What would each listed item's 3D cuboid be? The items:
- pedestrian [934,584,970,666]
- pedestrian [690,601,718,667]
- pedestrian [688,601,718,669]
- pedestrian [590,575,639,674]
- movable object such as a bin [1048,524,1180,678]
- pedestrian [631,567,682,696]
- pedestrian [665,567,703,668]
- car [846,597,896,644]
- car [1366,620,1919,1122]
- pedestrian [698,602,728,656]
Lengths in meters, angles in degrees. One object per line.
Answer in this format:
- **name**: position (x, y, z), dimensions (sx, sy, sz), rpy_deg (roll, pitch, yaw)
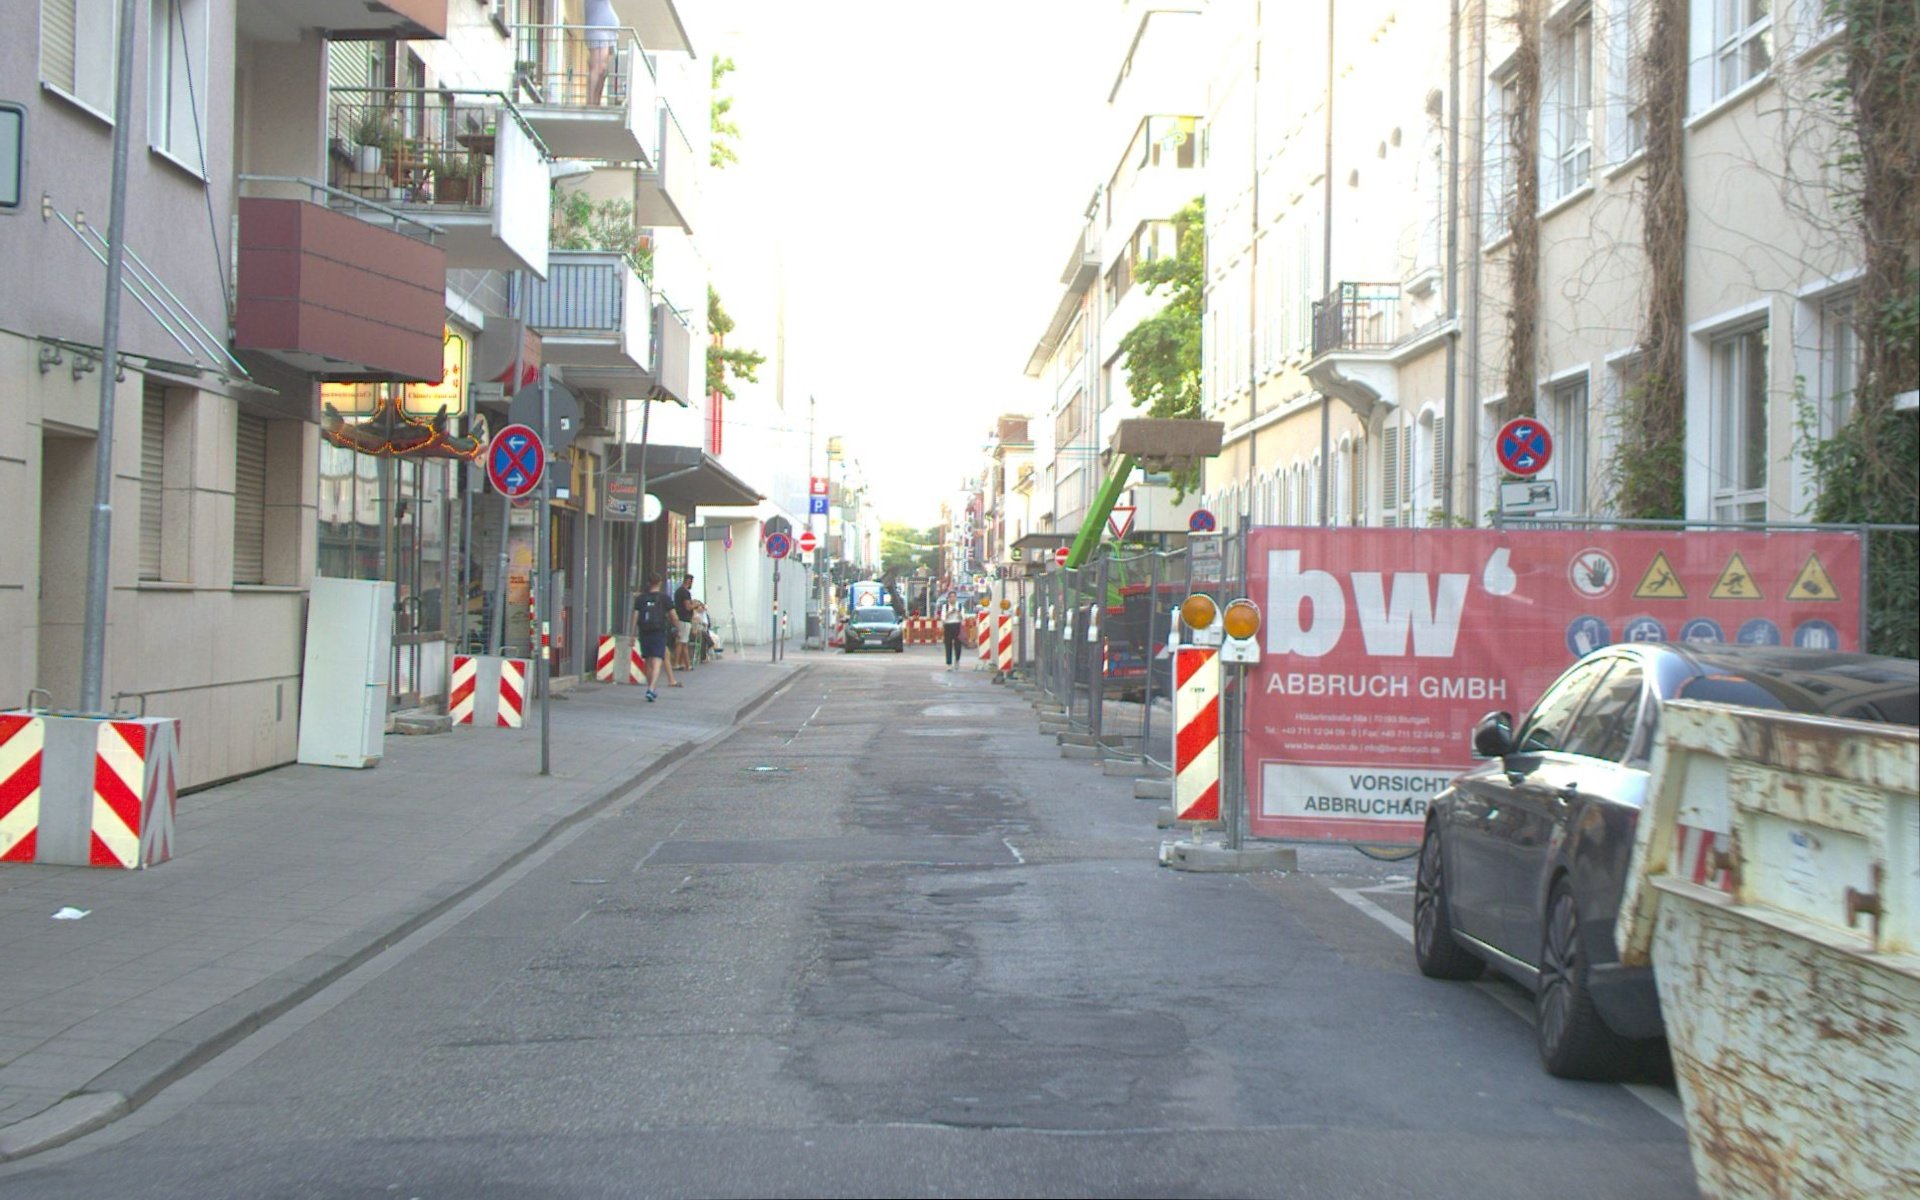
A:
- **pedestrian**: position (-0.176, 0.527, 73.498), dimensions (0.720, 1.734, 0.647), rpy_deg (1, 0, -3)
- **pedestrian**: position (-5.419, 0.724, 72.752), dimensions (0.542, 1.383, 0.625), rpy_deg (1, 0, 0)
- **pedestrian**: position (-5.346, 0.729, 71.490), dimensions (0.558, 1.386, 0.893), rpy_deg (1, 0, -1)
- **pedestrian**: position (-5.488, 0.383, 54.625), dimensions (0.645, 1.559, 0.631), rpy_deg (1, 0, -16)
- **movable object such as a bin**: position (3.251, -0.016, 73.603), dimensions (2.470, 3.120, 4.298), rpy_deg (2, 1, -1)
- **pedestrian**: position (-4.265, 0.439, 48.267), dimensions (0.629, 1.802, 0.647), rpy_deg (1, 0, 1)
- **pedestrian**: position (-5.180, 0.328, 64.515), dimensions (0.572, 1.880, 0.656), rpy_deg (1, 0, -17)
- **car**: position (-2.718, 0.619, 104.982), dimensions (1.474, 1.393, 3.332), rpy_deg (1, 0, -1)
- **car**: position (2.624, 0.826, 12.425), dimensions (1.693, 1.401, 4.479), rpy_deg (2, 0, -1)
- **pedestrian**: position (-5.440, 0.629, 75.793), dimensions (0.618, 1.168, 0.787), rpy_deg (1, 0, -2)
